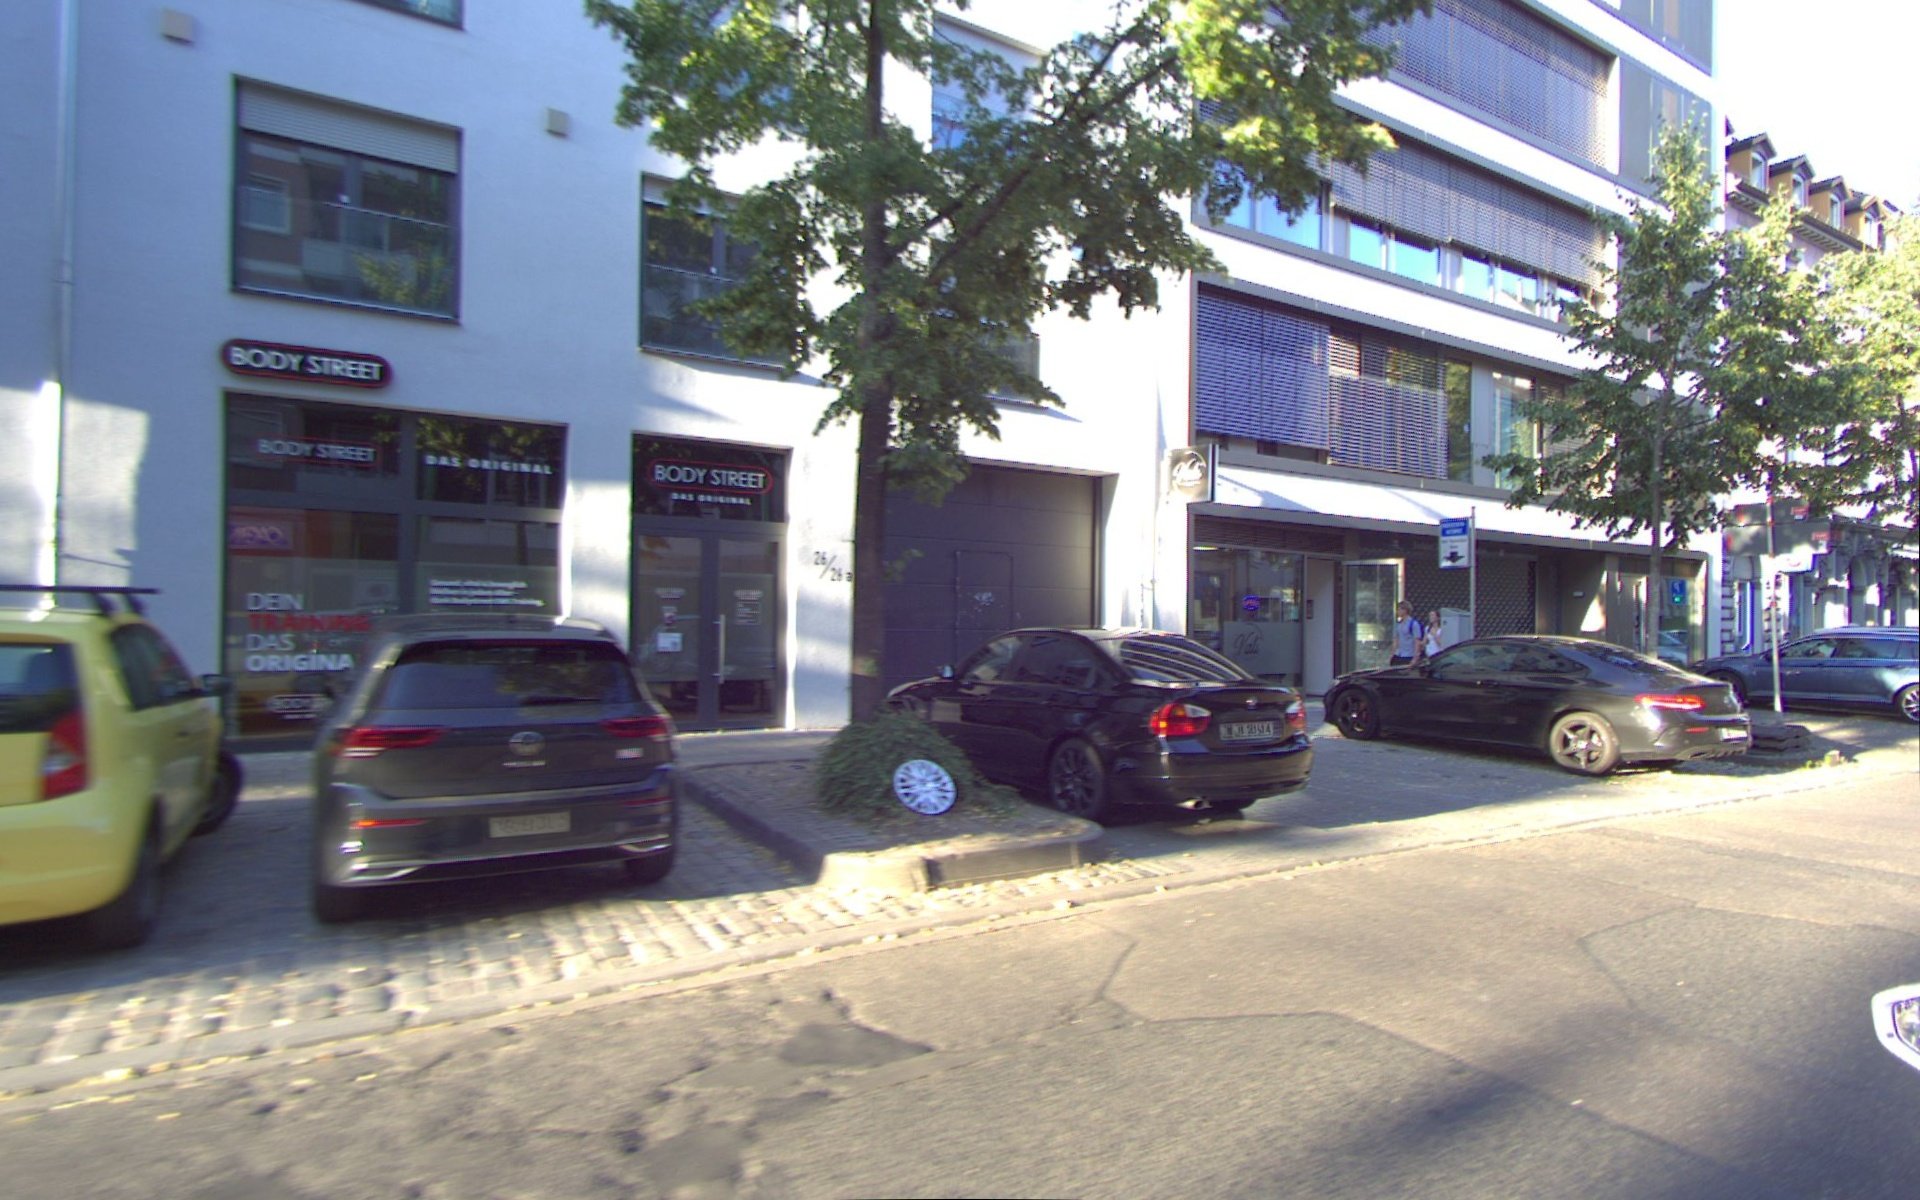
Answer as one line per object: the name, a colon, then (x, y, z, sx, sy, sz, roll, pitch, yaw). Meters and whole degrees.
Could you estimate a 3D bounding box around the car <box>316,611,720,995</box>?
car: (-2.985, 0.884, 6.314, 1.725, 1.588, 3.845, 1, -1, -32)

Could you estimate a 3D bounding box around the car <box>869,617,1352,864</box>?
car: (0.963, 0.923, 8.544, 1.725, 1.504, 4.251, 1, -1, -32)

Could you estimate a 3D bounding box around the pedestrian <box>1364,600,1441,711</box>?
pedestrian: (7.348, 0.904, 16.676, 0.923, 1.773, 0.715, 1, 1, -30)

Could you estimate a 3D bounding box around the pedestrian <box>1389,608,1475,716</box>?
pedestrian: (7.498, 0.964, 15.960, 1.082, 1.624, 0.715, 1, 1, -30)

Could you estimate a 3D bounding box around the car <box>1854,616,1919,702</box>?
car: (21.476, 1.278, 20.775, 1.869, 1.796, 4.126, 1, 0, -32)

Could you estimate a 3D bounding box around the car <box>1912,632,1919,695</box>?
car: (23.973, 1.505, 22.075, 1.747, 1.440, 4.126, 1, 0, -32)

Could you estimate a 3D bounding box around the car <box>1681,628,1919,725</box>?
car: (15.615, 1.294, 17.622, 1.726, 1.504, 4.520, 1, -1, -33)

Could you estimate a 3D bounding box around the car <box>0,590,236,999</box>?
car: (-5.071, 0.756, 5.320, 1.725, 1.588, 3.845, 1, -1, -32)

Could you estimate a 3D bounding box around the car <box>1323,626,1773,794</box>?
car: (6.540, 1.093, 11.703, 1.723, 1.504, 4.255, 1, -1, -30)

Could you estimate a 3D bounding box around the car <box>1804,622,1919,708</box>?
car: (19.515, 1.292, 19.546, 1.868, 1.617, 4.383, 1, 0, -31)
